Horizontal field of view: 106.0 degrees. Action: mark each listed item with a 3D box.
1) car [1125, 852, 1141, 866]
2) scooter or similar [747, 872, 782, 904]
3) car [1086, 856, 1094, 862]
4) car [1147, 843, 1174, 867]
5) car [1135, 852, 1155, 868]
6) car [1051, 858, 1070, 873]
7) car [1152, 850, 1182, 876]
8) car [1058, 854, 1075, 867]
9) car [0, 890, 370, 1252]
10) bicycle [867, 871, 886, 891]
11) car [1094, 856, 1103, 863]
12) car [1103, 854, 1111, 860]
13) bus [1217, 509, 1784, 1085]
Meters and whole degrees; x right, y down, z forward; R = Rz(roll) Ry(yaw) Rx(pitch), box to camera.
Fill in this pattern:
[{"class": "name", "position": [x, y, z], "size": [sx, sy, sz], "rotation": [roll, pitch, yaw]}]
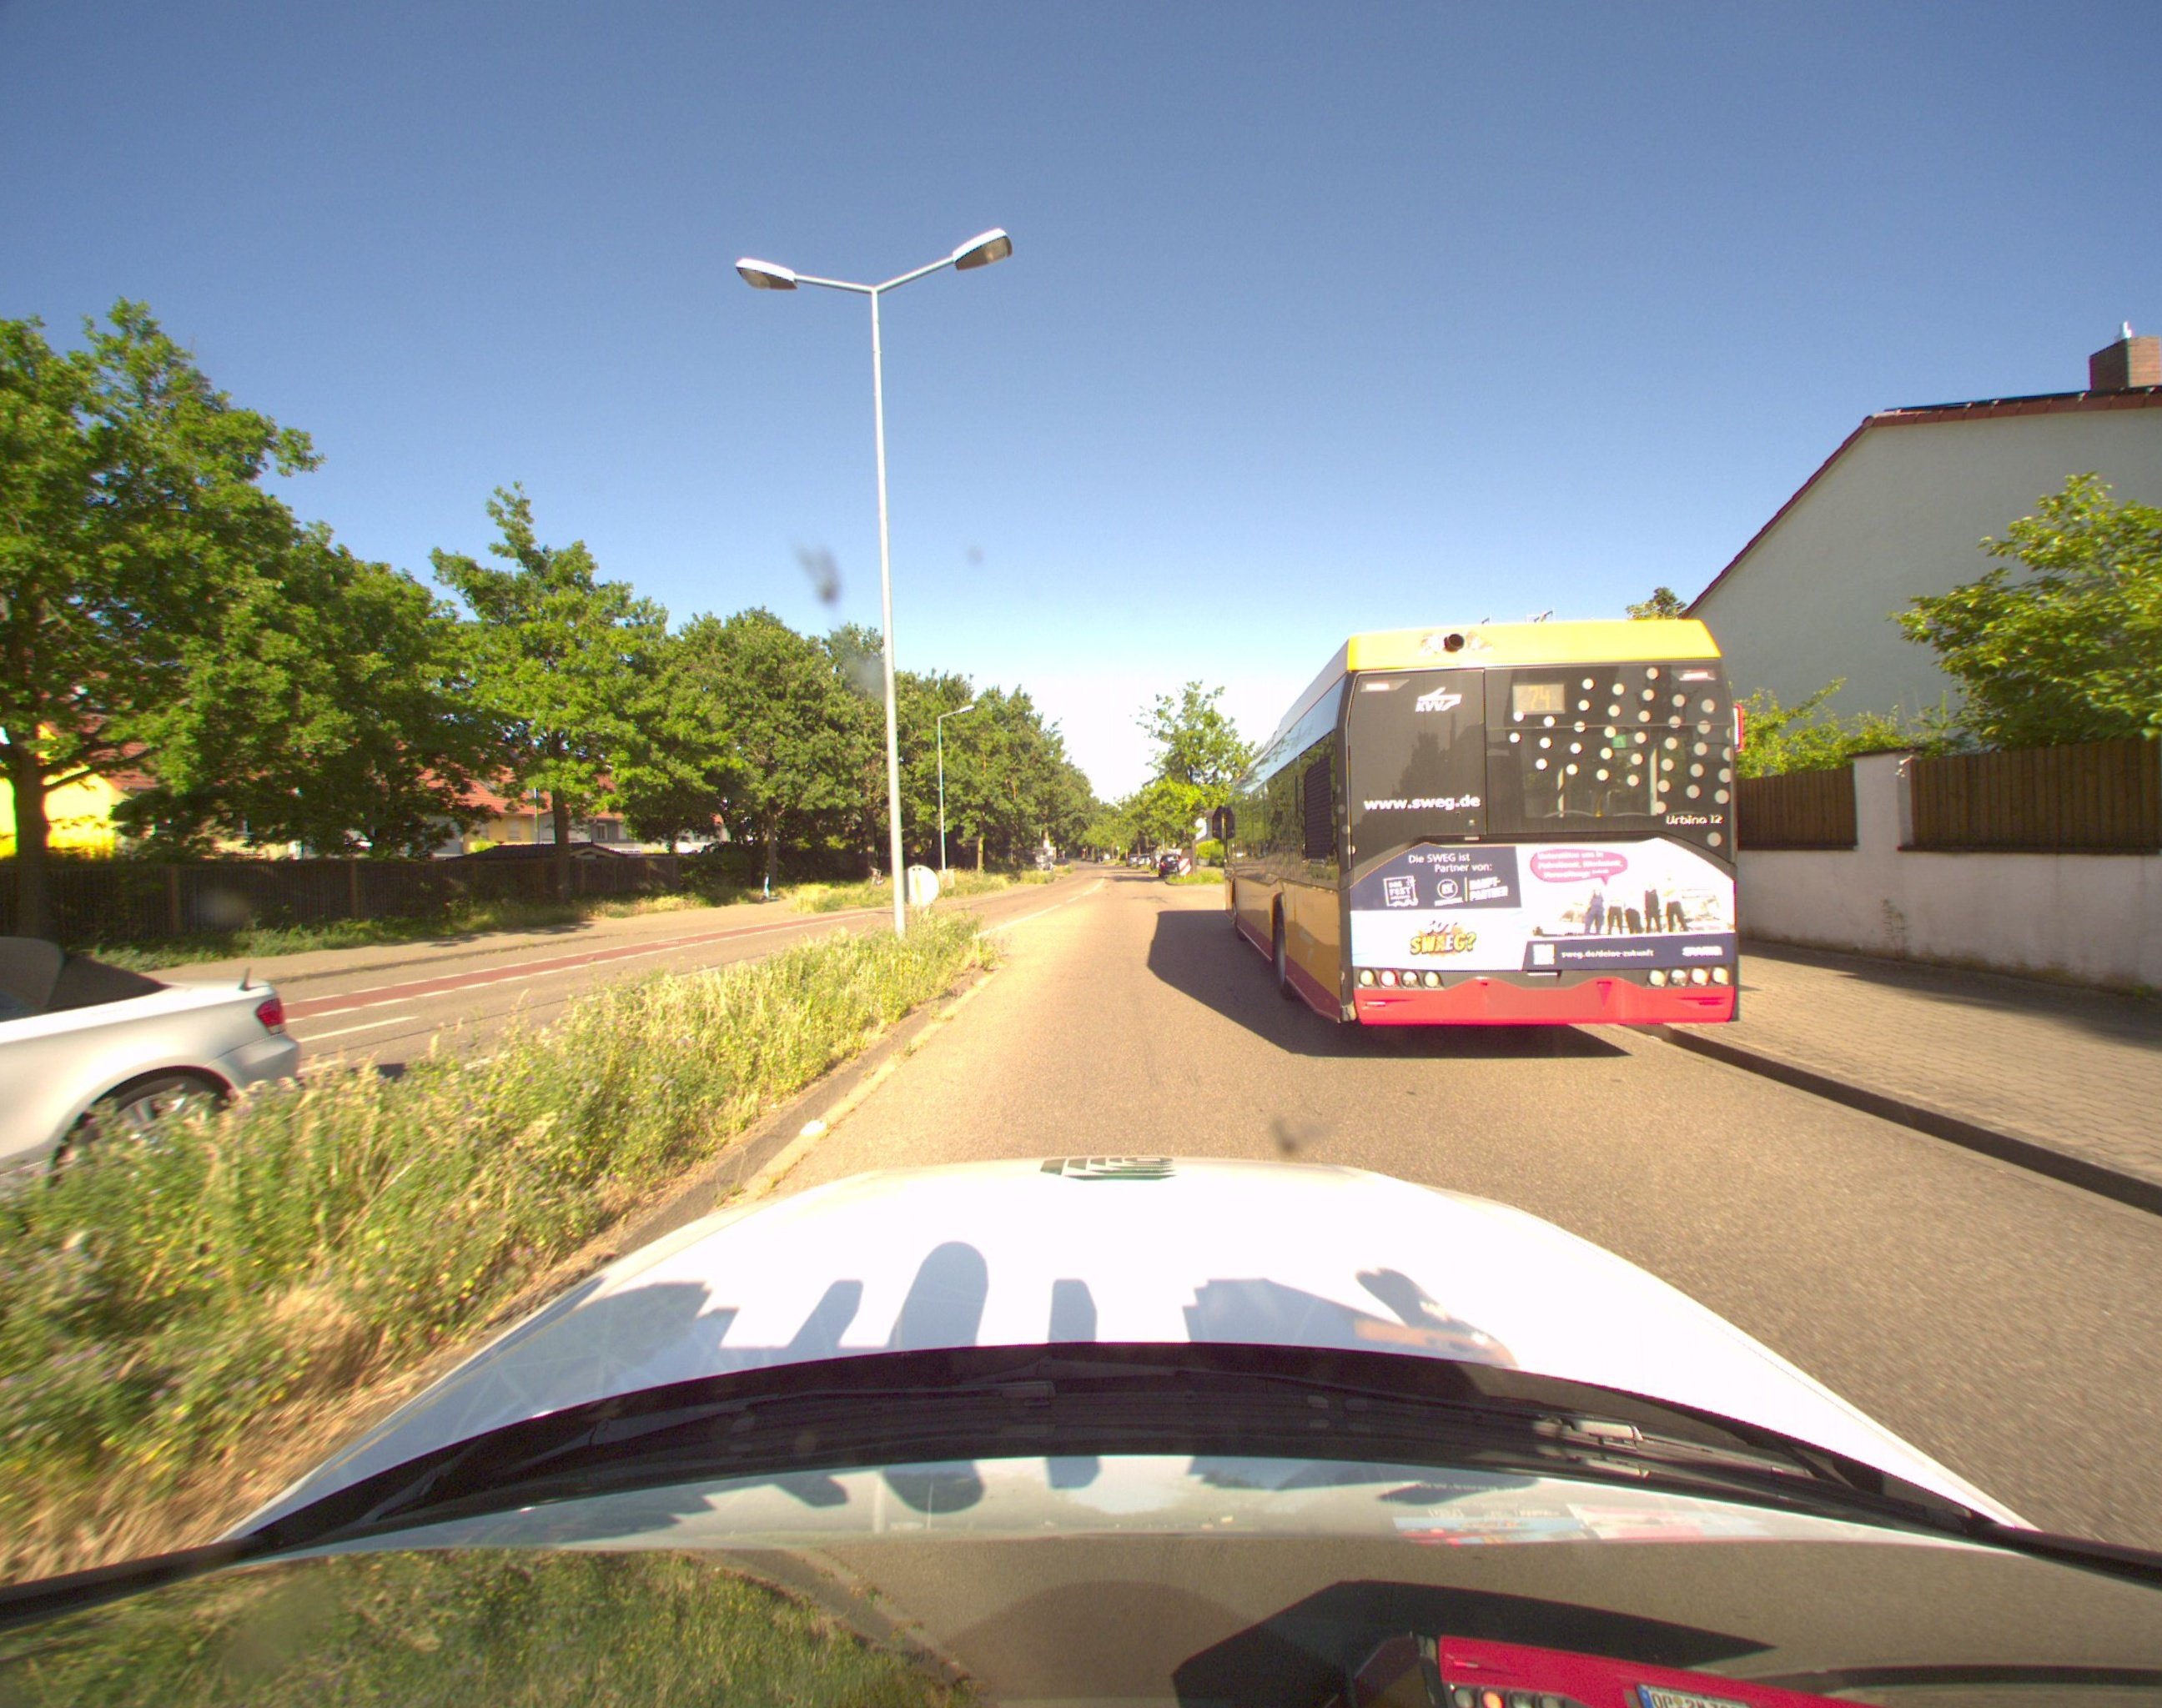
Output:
[{"class": "car", "position": [7.213, 0.695, 112.613], "size": [1.927, 1.742, 4.000], "rotation": [-2, 0, 0]}, {"class": "scooter or similar", "position": [-13.352, 1.423, 34.392], "size": [0.534, 1.218, 1.420], "rotation": [0, 1, 19]}, {"class": "car", "position": [2.279, 1.227, 206.724], "size": [1.928, 1.454, 3.998], "rotation": [-2, 0, -1]}, {"class": "car", "position": [6.776, 0.106, 69.903], "size": [1.829, 1.971, 4.758], "rotation": [-2, 0, 0]}, {"class": "car", "position": [7.031, 0.685, 89.902], "size": [1.929, 1.704, 4.000], "rotation": [-2, 0, 0]}, {"class": "car", "position": [-2.129, 1.166, 85.365], "size": [1.930, 1.479, 3.998], "rotation": [-2, 0, -1]}, {"class": "car", "position": [5.689, 0.596, 54.355], "size": [1.666, 1.578, 3.753], "rotation": [-4, 0, 2]}, {"class": "car", "position": [-1.877, 0.793, 103.643], "size": [1.988, 1.556, 3.997], "rotation": [-1, 0, -2]}, {"class": "car", "position": [-5.660, 1.009, 2.948], "size": [1.983, 1.450, 4.407], "rotation": [-3, 0, 6]}, {"class": "bicycle", "position": [-11.524, 1.538, 45.961], "size": [0.503, 1.053, 1.881], "rotation": [-2, 0, 3]}, {"class": "car", "position": [3.975, 1.144, 181.761], "size": [1.927, 1.542, 4.000], "rotation": [-2, 0, 0]}, {"class": "car", "position": [6.650, 0.652, 207.796], "size": [1.928, 1.454, 3.998], "rotation": [-2, 0, -1]}, {"class": "bus", "position": [3.590, -0.265, 11.261], "size": [2.742, 3.458, 12.422], "rotation": [-3, -1, 7]}]
